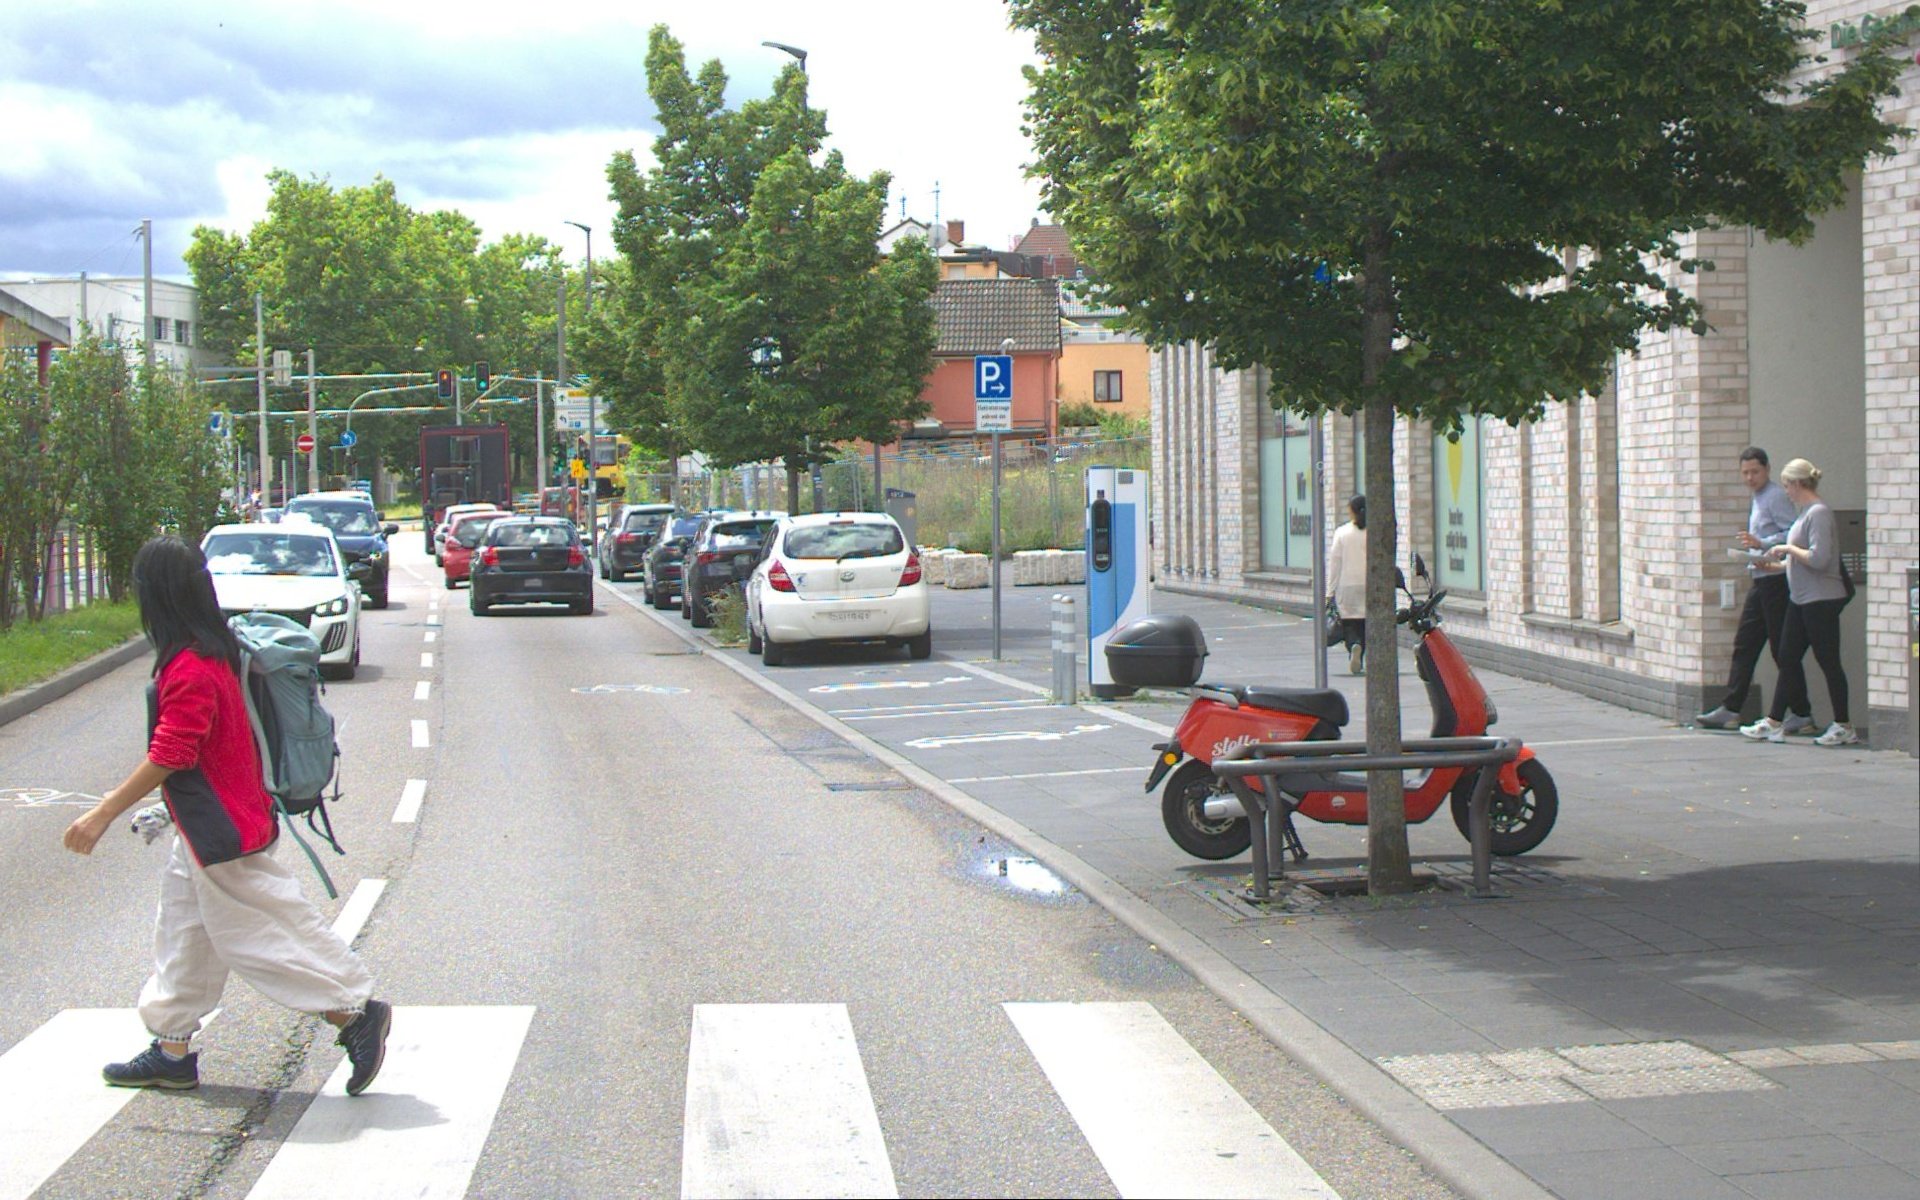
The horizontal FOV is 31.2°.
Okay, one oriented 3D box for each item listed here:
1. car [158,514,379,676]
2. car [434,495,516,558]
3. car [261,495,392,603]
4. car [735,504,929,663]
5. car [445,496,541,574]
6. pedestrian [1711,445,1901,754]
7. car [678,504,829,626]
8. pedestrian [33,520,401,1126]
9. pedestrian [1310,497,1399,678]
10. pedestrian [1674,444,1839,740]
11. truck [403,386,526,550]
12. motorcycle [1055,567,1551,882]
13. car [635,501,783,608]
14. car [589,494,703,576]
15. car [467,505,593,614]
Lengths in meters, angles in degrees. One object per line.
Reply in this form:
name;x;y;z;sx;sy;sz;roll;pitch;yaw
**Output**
car;-6.644;-0.094;33.337;1.811;1.464;3.909;0;1;-7
car;-12.128;-1.826;85.782;1.887;1.460;4.070;-2;1;-9
car;-9.835;-0.823;53.533;1.919;1.599;4.628;0;1;-10
car;-1.376;-0.216;35.667;1.692;1.478;3.798;-2;2;-6
car;-9.104;-1.287;66.813;1.711;1.388;3.810;-2;2;-9
pedestrian;4.968;-0.009;20.211;0.732;1.760;0.758;-2;0;-22
car;-2.751;-0.496;45.096;1.692;1.456;4.148;-2;2;-7
pedestrian;-1.997;0.578;9.344;0.927;1.560;0.815;0;0;-10
pedestrian;3.297;-0.116;28.777;0.607;1.467;0.791;-2;2;0
pedestrian;4.854;-0.054;20.972;0.735;1.760;0.624;-2;0;-14
truck;-14.686;-3.790;101.443;3.202;4.520;9.031;0;0;-11
motorcycle;1.503;0.534;14.962;2.051;1.261;0.672;-2;1;10
car;-3.804;-0.717;51.494;1.864;1.446;4.645;-2;2;-8
car;-6.069;-1.270;66.052;1.781;1.446;4.477;-3;2;-10
car;-6.315;-0.627;50.282;1.726;1.451;3.810;-2;2;-8
